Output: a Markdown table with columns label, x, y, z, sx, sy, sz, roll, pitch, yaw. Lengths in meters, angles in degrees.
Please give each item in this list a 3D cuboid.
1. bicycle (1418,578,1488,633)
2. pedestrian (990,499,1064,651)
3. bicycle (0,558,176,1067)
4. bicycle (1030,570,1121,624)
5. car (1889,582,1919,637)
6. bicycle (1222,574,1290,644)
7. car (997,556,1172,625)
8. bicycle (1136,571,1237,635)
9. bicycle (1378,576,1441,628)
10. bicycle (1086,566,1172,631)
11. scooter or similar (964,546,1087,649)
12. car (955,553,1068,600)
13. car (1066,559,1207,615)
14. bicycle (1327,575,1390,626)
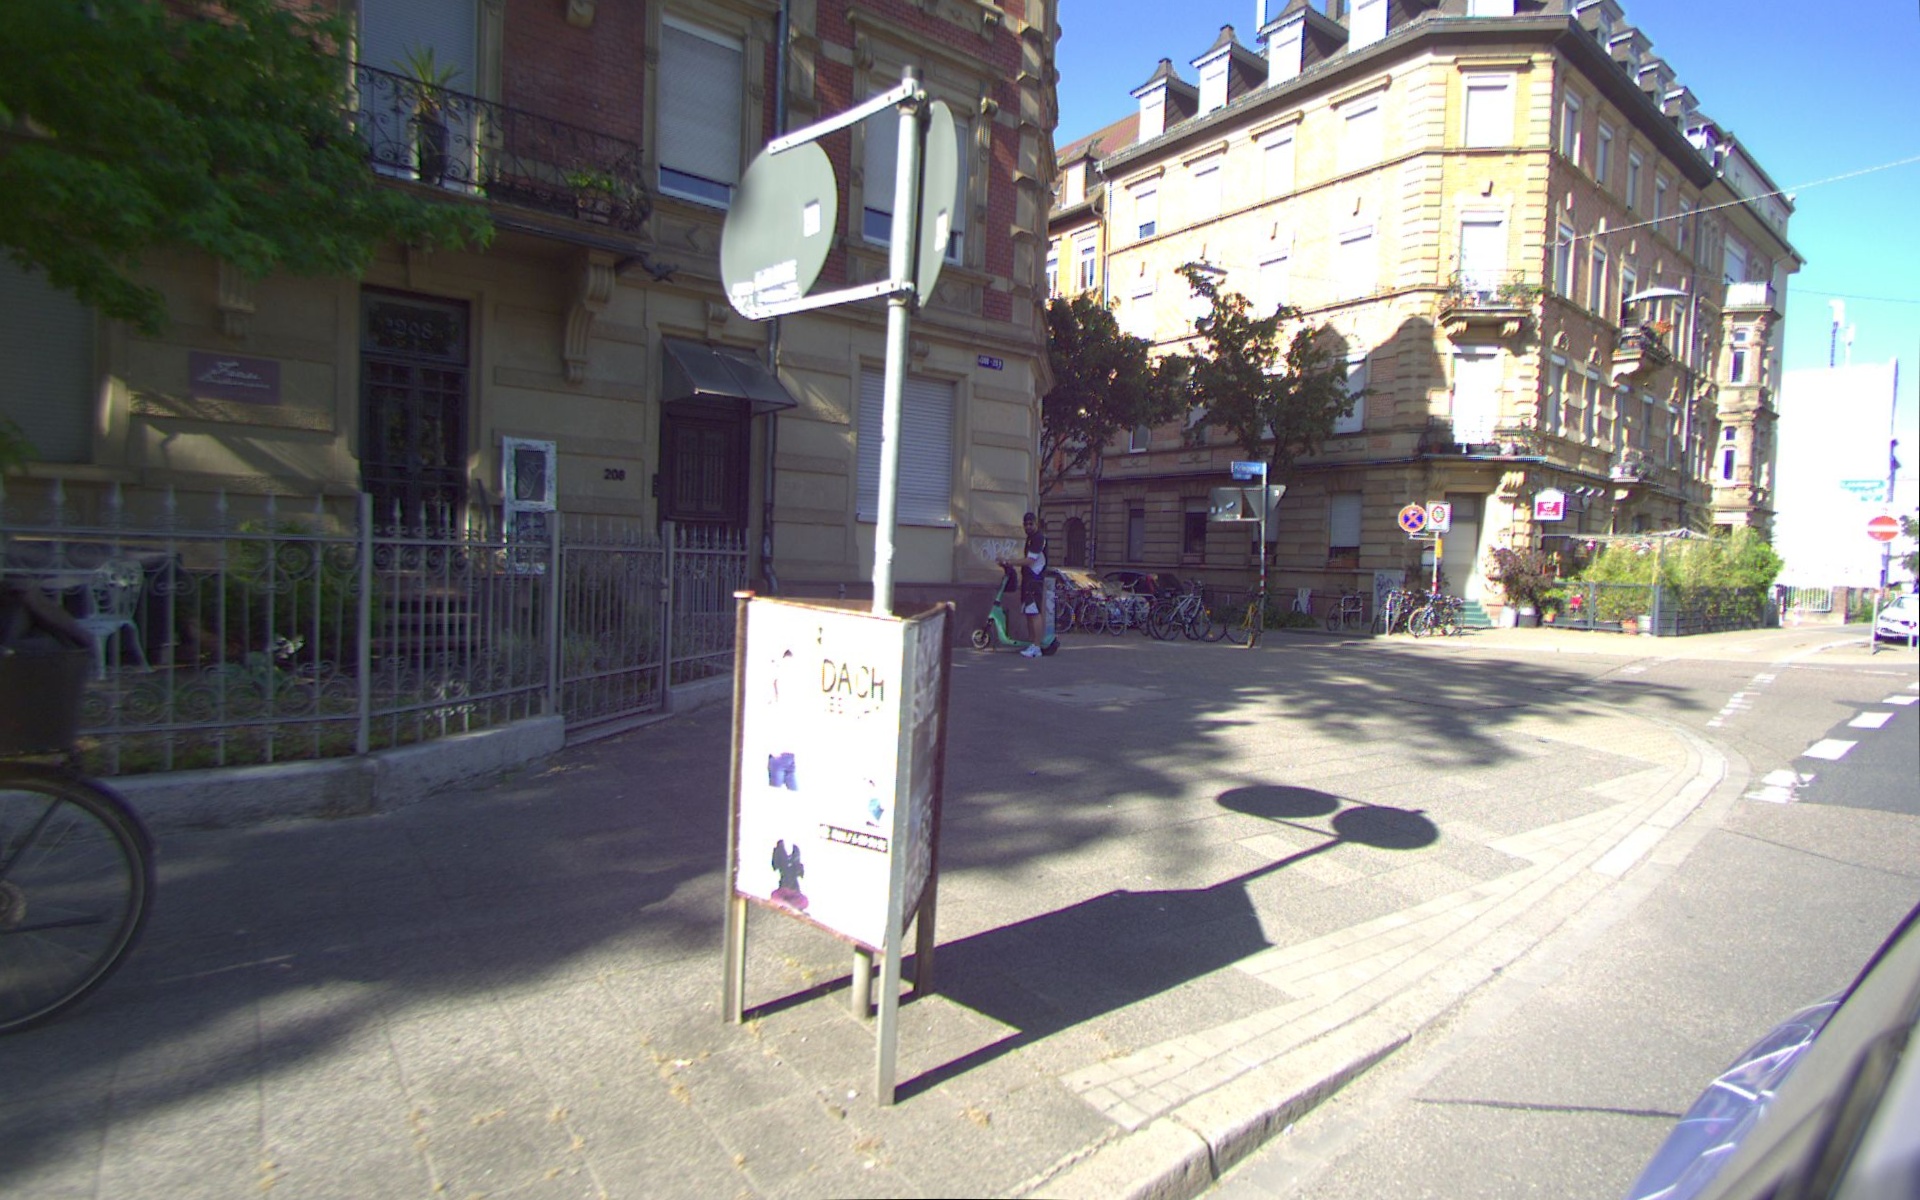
| label | x | y | z | sx | sy | sz | roll | pitch | yaw |
| --- | --- | --- | --- | --- | --- | --- | --- | --- | --- |
| bicycle | 11.429 | 0.103 | 23.441 | 1.985 | 1.148 | 0.735 | -3 | 5 | -42 |
| pedestrian | 0.895 | -0.328 | 13.377 | 0.756 | 1.916 | 0.690 | 3 | 0 | 16 |
| bicycle | -2.944 | 0.513 | 2.283 | 1.811 | 1.190 | 0.654 | 0 | 6 | -42 |
| bicycle | 2.459 | -0.068 | 21.433 | 1.981 | 1.068 | 0.585 | 0 | 3 | -35 |
| car | 27.705 | 0.269 | 28.465 | 4.034 | 1.458 | 1.845 | 0 | 2 | -41 |
| bicycle | 5.287 | 0.133 | 18.180 | 0.574 | 1.148 | 2.019 | 4 | 1 | 1 |
| car | 3.123 | -0.306 | 26.226 | 2.008 | 1.434 | 4.424 | 0 | 4 | -35 |
| bicycle | 4.334 | 0.072 | 19.303 | 1.979 | 1.148 | 0.585 | 2 | 2 | -33 |
| bicycle | 10.769 | 0.033 | 24.199 | 1.985 | 1.148 | 0.584 | -2 | 5 | -43 |
| bicycle | 3.399 | -0.012 | 20.244 | 0.633 | 1.200 | 1.987 | 5 | 1 | 43 |
| scooter or similar | 0.858 | -0.038 | 13.375 | 1.380 | 1.278 | 0.763 | 1 | 4 | -21 |
| car | 1.779 | -0.878 | 36.363 | 2.008 | 1.434 | 3.940 | 0 | 4 | -35 |
| car | 5.371 | -0.446 | 31.213 | 2.008 | 1.434 | 3.940 | 0 | 4 | -35 |
| bicycle | 9.949 | -0.012 | 25.246 | 1.985 | 1.148 | 0.584 | -3 | 6 | -42 |
